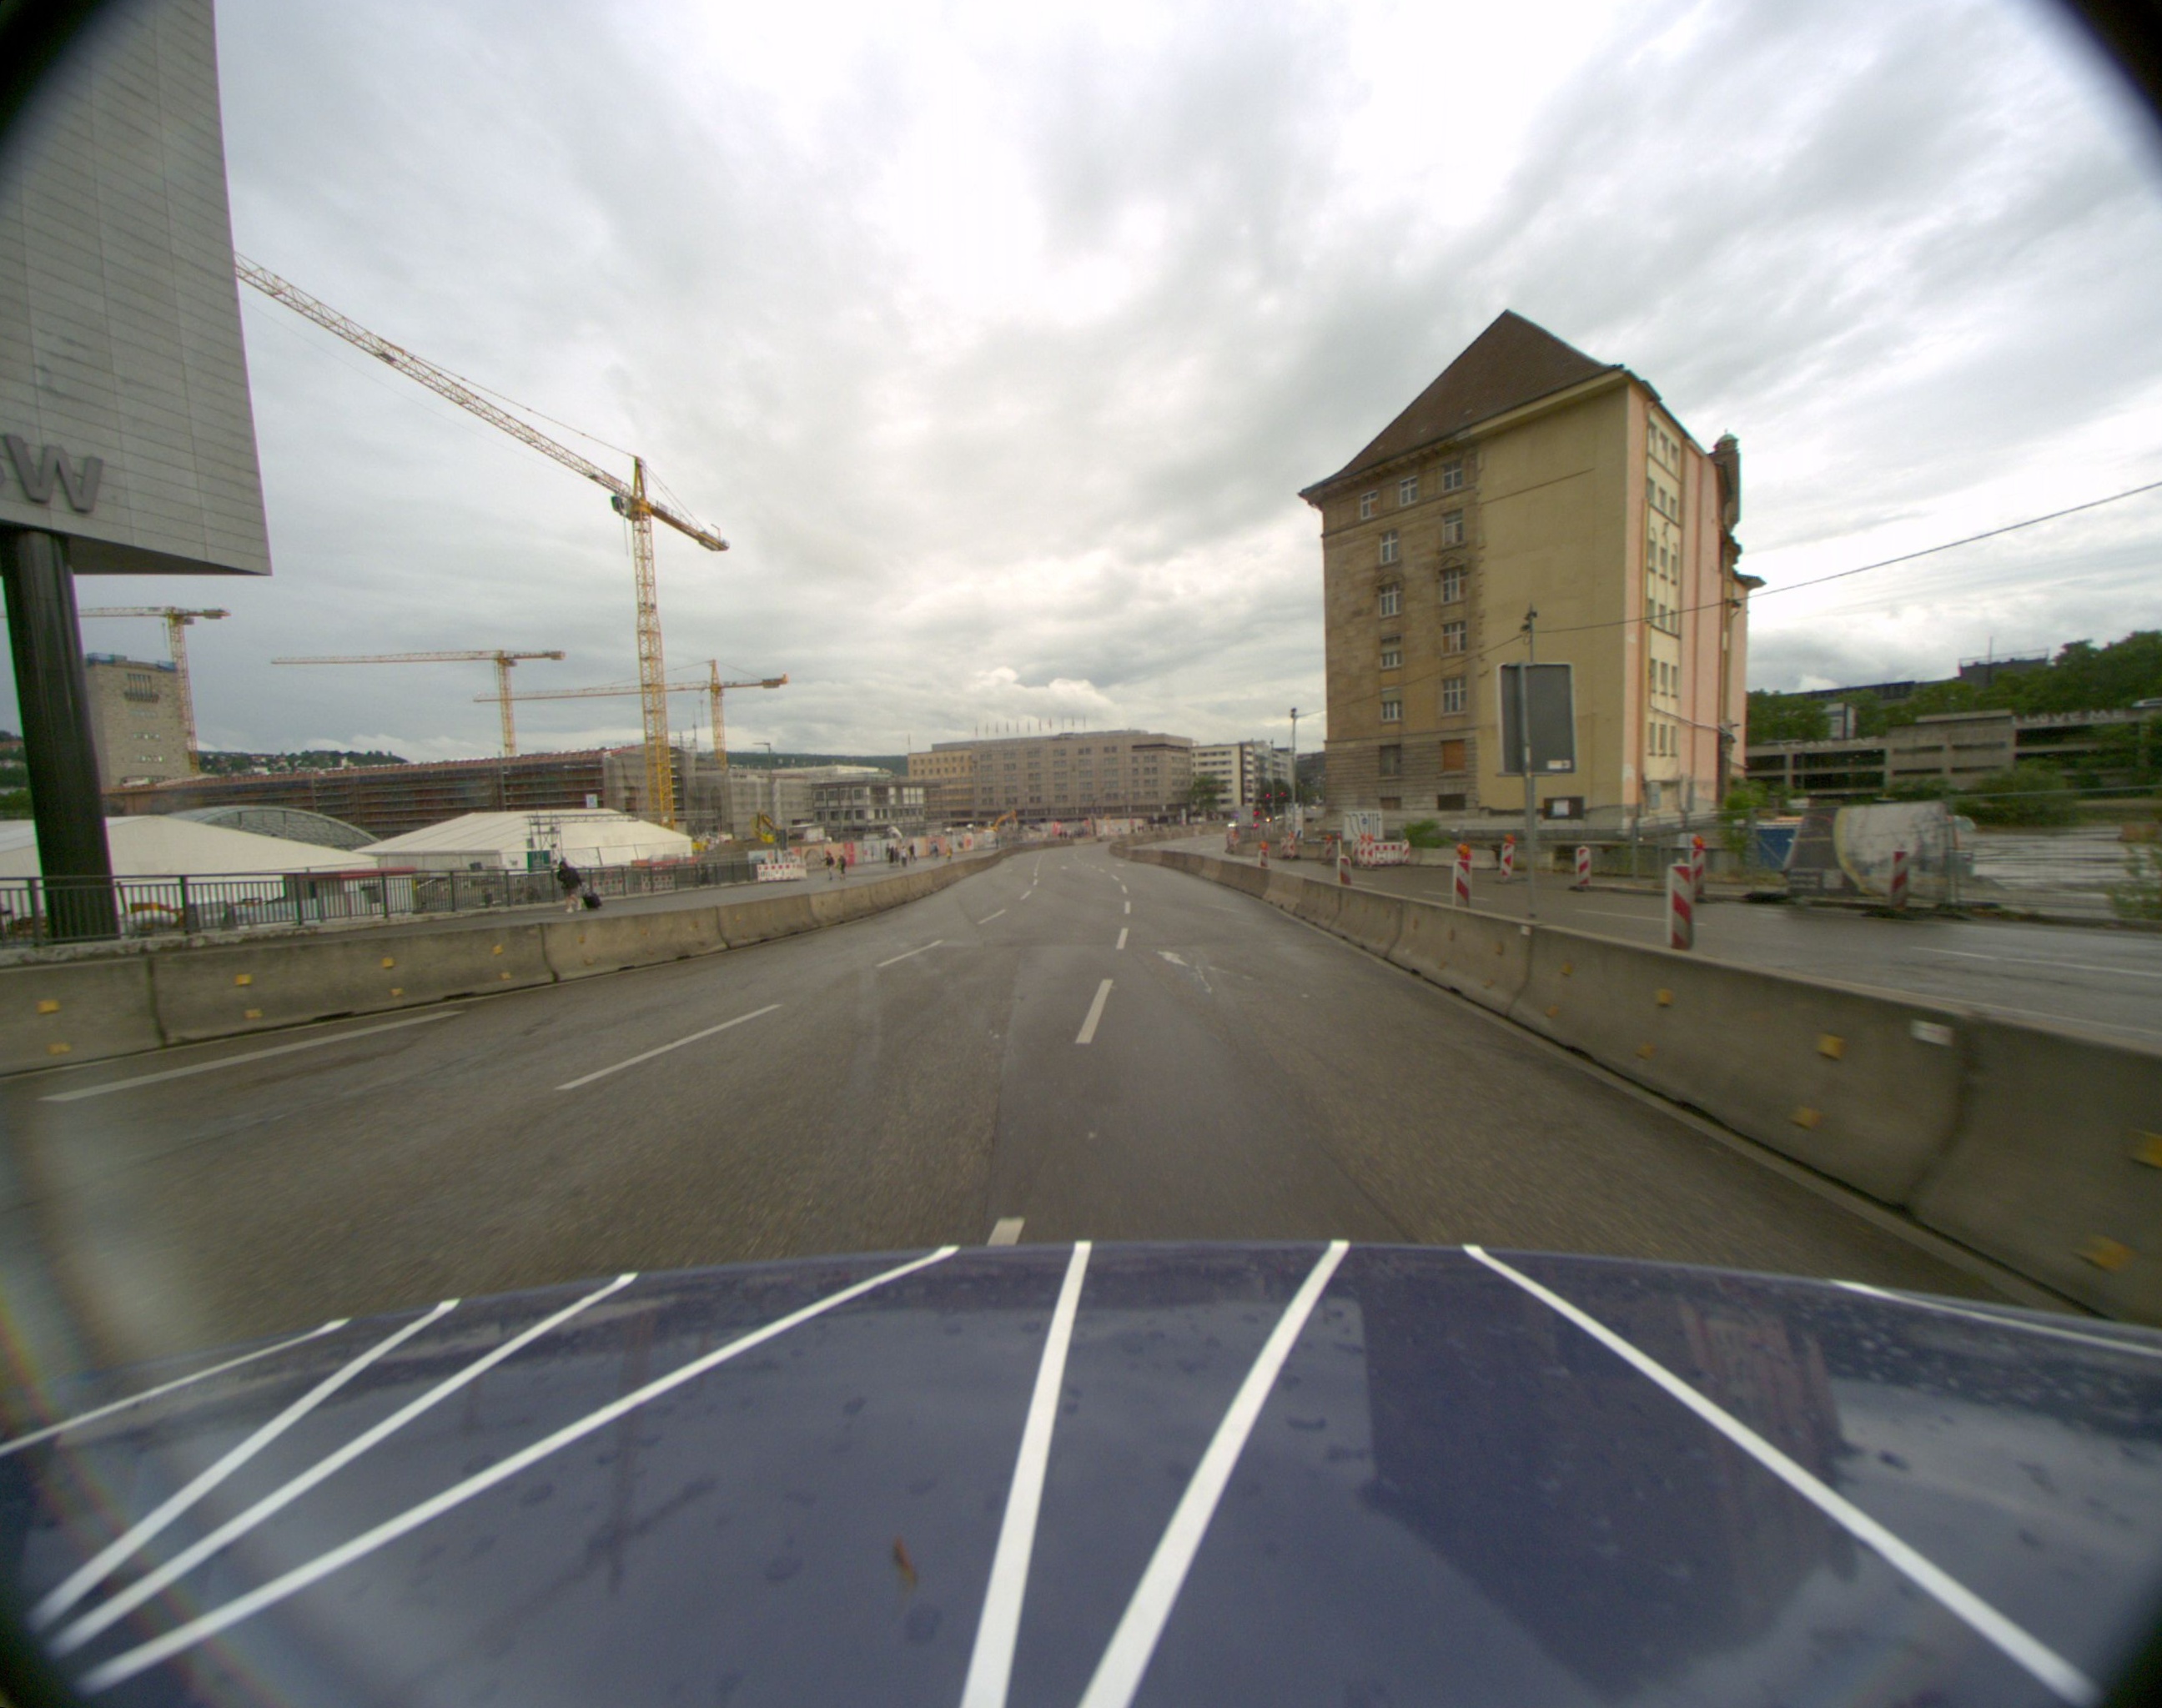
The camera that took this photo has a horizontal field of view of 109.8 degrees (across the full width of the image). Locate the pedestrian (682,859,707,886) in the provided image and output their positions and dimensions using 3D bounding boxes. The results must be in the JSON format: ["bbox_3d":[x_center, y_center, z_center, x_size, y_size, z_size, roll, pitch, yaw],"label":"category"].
[{"bbox_3d":[-25.267,1.229,49.699,0.866,1.680,1.009,0,4,26],"label":"pedestrian"}]

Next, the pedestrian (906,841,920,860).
[{"bbox_3d":[-16.092,-0.341,72.877,0.867,1.808,1.009,-1,4,17],"label":"pedestrian"}]

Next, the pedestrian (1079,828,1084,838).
[{"bbox_3d":[0.069,-3.306,119.200,0.654,1.682,0.776,1,4,21],"label":"pedestrian"}]

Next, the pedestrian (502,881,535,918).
[{"bbox_3d":[-29.085,2.342,39.318,0.771,1.774,1.009,0,4,26],"label":"pedestrian"}]

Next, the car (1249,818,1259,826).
[{"bbox_3d":[35.489,-6.671,155.860,1.768,1.513,4.390,-1,3,17],"label":"car"}]

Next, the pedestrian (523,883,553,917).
[{"bbox_3d":[-28.030,2.354,39.223,0.698,1.628,0.917,0,4,26],"label":"pedestrian"}]

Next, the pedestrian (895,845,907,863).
[{"bbox_3d":[-15.771,-0.033,66.551,0.609,1.514,0.886,-1,4,17],"label":"pedestrian"}]

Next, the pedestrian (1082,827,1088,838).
[{"bbox_3d":[0.687,-3.429,122.646,0.654,1.682,0.776,1,4,21],"label":"pedestrian"}]

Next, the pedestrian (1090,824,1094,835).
[{"bbox_3d":[1.873,-4.062,126.534,0.585,1.699,0.677,0,4,9],"label":"pedestrian"}]

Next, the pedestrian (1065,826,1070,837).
[{"bbox_3d":[-2.080,-3.474,116.396,0.648,1.637,0.947,0,4,11],"label":"pedestrian"}]

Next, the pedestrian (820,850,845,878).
[{"bbox_3d":[-14.608,0.575,44.665,0.861,1.585,0.953,0,4,25],"label":"pedestrian"}]

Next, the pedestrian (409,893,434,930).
[{"bbox_3d":[-30.272,2.647,34.885,0.704,1.607,0.567,0,4,30],"label":"pedestrian"}]

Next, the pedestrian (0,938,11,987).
[{"bbox_3d":[-38.353,3.845,26.480,0.866,1.628,1.009,0,4,26],"label":"pedestrian"}]

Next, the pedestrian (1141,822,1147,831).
[{"bbox_3d":[12.810,-5.560,154.180,1.097,1.752,0.907,1,4,25],"label":"pedestrian"}]

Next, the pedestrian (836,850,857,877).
[{"bbox_3d":[-13.792,0.551,44.649,0.732,1.566,0.806,-1,4,25],"label":"pedestrian"}]

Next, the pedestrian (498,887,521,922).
[{"bbox_3d":[-28.340,2.477,37.689,0.753,1.628,0.586,-5,5,-44],"label":"pedestrian"}]

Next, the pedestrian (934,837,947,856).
[{"bbox_3d":[-14.457,-0.770,77.983,0.818,1.839,0.933,1,4,34],"label":"pedestrian"}]

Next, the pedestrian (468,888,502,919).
[{"bbox_3d":[-31.626,2.616,40.322,0.866,1.545,1.009,0,4,26],"label":"pedestrian"}]

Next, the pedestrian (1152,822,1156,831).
[{"bbox_3d":[14.959,-5.688,155.819,0.756,1.752,0.766,0,4,9],"label":"pedestrian"}]

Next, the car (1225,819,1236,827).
[{"bbox_3d":[35.712,-7.402,181.822,1.995,2.002,4.005,0,1,20],"label":"car"}]

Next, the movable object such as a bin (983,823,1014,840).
[{"bbox_3d":[-12.507,-3.436,115.711,4.135,2.522,1.994,-4,4,-37],"label":"movable object such as a bin"}]

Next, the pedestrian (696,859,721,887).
[{"bbox_3d":[-24.174,1.209,49.295,0.866,1.716,1.009,0,4,26],"label":"pedestrian"}]

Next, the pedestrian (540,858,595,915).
[{"bbox_3d":[-15.493,0.969,22.957,0.730,1.643,1.062,-1,3,25],"label":"pedestrian"}]

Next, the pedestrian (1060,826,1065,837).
[{"bbox_3d":[-2.834,-3.490,116.508,0.648,1.734,0.766,0,4,11],"label":"pedestrian"}]

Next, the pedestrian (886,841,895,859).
[{"bbox_3d":[-18.579,-0.362,74.090,0.567,1.739,0.495,-1,4,16],"label":"pedestrian"}]

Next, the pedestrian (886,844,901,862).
[{"bbox_3d":[-16.447,-0.102,66.649,0.715,1.545,1.009,-1,4,17],"label":"pedestrian"}]

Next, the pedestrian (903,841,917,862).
[{"bbox_3d":[-15.057,-0.223,66.841,0.778,1.713,0.892,-1,4,17],"label":"pedestrian"}]

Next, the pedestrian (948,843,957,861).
[{"bbox_3d":[-12.087,-0.222,71.706,0.649,1.624,0.907,-2,4,-2],"label":"pedestrian"}]

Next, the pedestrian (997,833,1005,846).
[{"bbox_3d":[-10.102,-1.850,96.129,0.746,1.697,0.687,0,4,11],"label":"pedestrian"}]

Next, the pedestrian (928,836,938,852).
[{"bbox_3d":[-15.555,-1.038,79.900,0.647,1.646,0.767,1,4,34],"label":"pedestrian"}]

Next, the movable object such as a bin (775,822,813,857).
[{"bbox_3d":[-29.622,-1.506,78.582,1.941,3.391,4.229,-2,3,5],"label":"movable object such as a bin"}]

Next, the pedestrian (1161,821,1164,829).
[{"bbox_3d":[17.477,-6.135,162.768,0.653,1.752,0.548,0,4,9],"label":"pedestrian"}]
